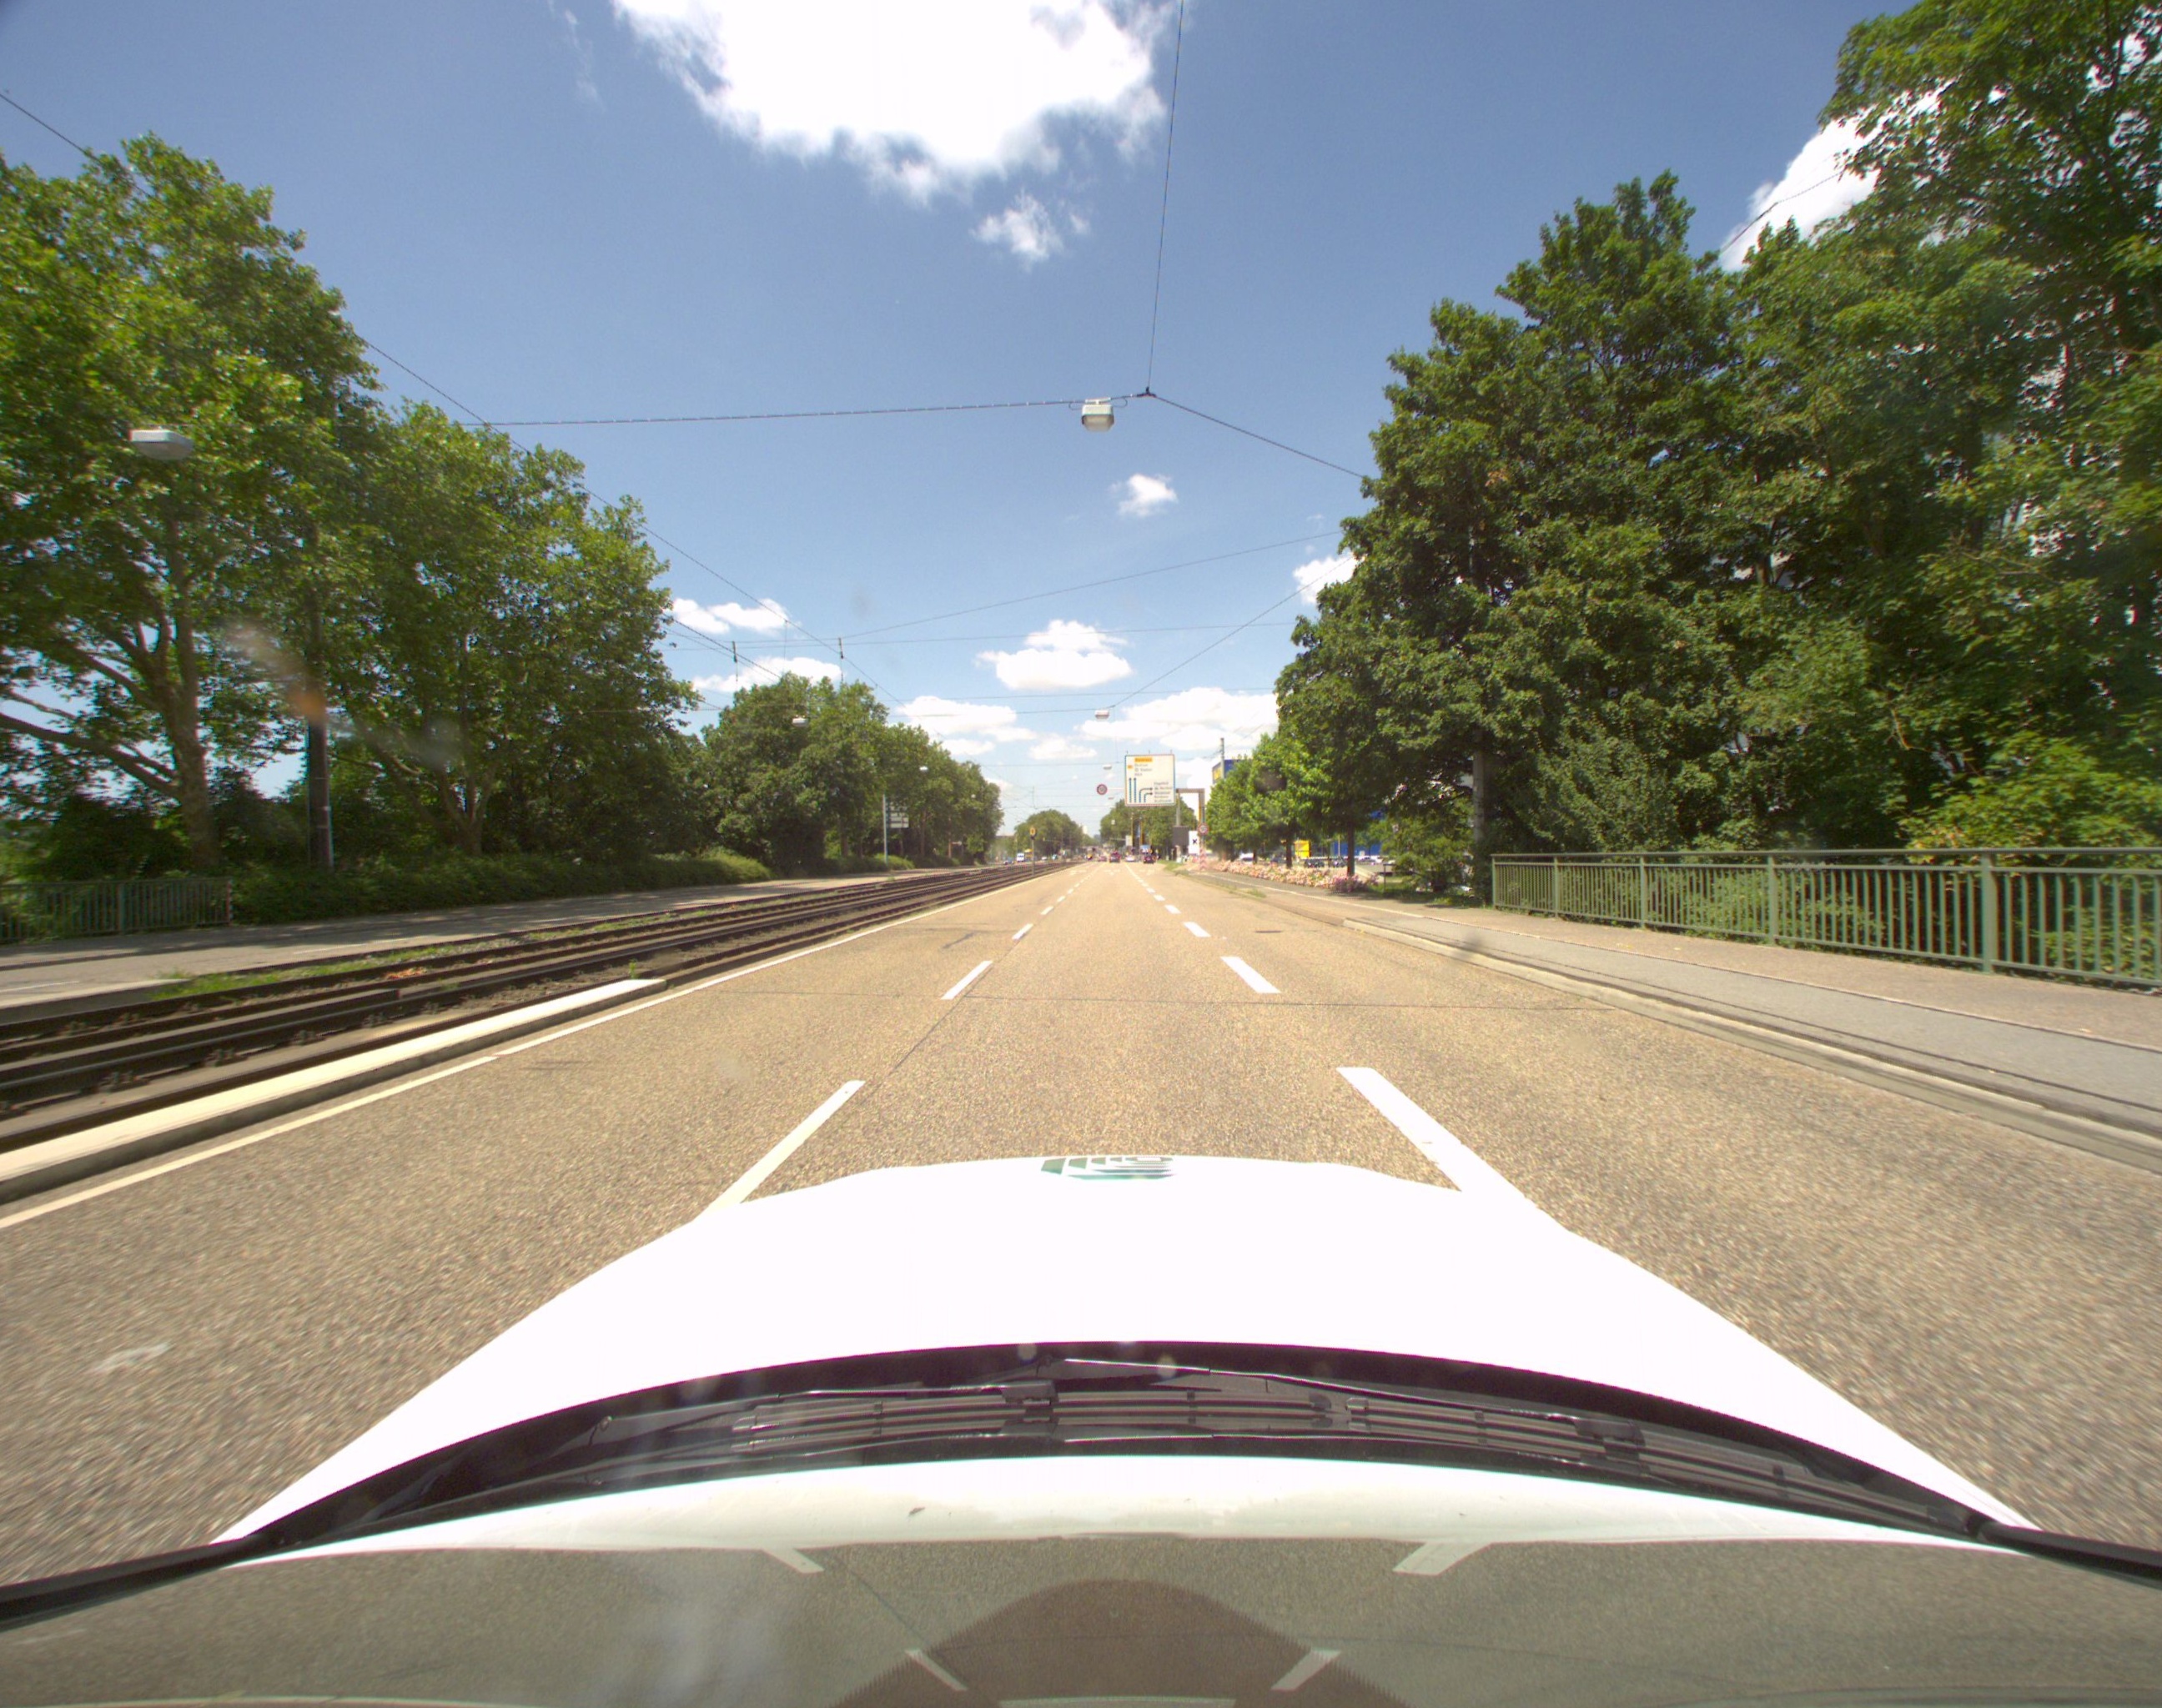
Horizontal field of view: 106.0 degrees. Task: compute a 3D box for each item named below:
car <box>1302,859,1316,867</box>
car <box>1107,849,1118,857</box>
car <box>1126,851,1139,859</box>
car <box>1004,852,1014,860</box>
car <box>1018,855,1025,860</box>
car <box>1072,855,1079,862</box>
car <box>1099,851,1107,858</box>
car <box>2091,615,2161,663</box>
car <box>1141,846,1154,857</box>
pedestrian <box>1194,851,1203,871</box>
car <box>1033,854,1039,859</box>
[{"bbox_3d":[42.657,1.643,152.398,1.565,1.483,3.888,1,0,1],"label":"car"},{"bbox_3d":[5.939,-0.130,153.696,1.869,1.539,3.778,1,0,1],"label":"car"},{"bbox_3d":[11.695,0.239,184.980,1.670,1.550,4.006,1,0,24],"label":"car"},{"bbox_3d":[-13.866,0.335,156.707,1.639,1.550,4.216,0,0,0],"label":"car"},{"bbox_3d":[-17.232,1.052,235.084,1.617,1.550,3.705,1,0,2],"label":"car"},{"bbox_3d":[-1.393,1.162,204.227,1.836,1.550,3.777,1,0,1],"label":"car"},{"bbox_3d":[5.030,0.154,186.802,1.836,1.550,3.777,1,0,1],"label":"car"},{"bbox_3d":[43.489,-8.684,32.890,3.350,1.517,1.546,0,-1,3],"label":"car"},{"bbox_3d":[11.177,-0.369,137.364,1.892,1.805,3.978,1,0,2],"label":"car"},{"bbox_3d":[10.298,0.603,71.420,0.666,1.792,0.925,0,0,4],"label":"pedestrian"},{"bbox_3d":[-13.495,0.715,244.952,1.617,1.550,3.705,1,0,2],"label":"car"}]
